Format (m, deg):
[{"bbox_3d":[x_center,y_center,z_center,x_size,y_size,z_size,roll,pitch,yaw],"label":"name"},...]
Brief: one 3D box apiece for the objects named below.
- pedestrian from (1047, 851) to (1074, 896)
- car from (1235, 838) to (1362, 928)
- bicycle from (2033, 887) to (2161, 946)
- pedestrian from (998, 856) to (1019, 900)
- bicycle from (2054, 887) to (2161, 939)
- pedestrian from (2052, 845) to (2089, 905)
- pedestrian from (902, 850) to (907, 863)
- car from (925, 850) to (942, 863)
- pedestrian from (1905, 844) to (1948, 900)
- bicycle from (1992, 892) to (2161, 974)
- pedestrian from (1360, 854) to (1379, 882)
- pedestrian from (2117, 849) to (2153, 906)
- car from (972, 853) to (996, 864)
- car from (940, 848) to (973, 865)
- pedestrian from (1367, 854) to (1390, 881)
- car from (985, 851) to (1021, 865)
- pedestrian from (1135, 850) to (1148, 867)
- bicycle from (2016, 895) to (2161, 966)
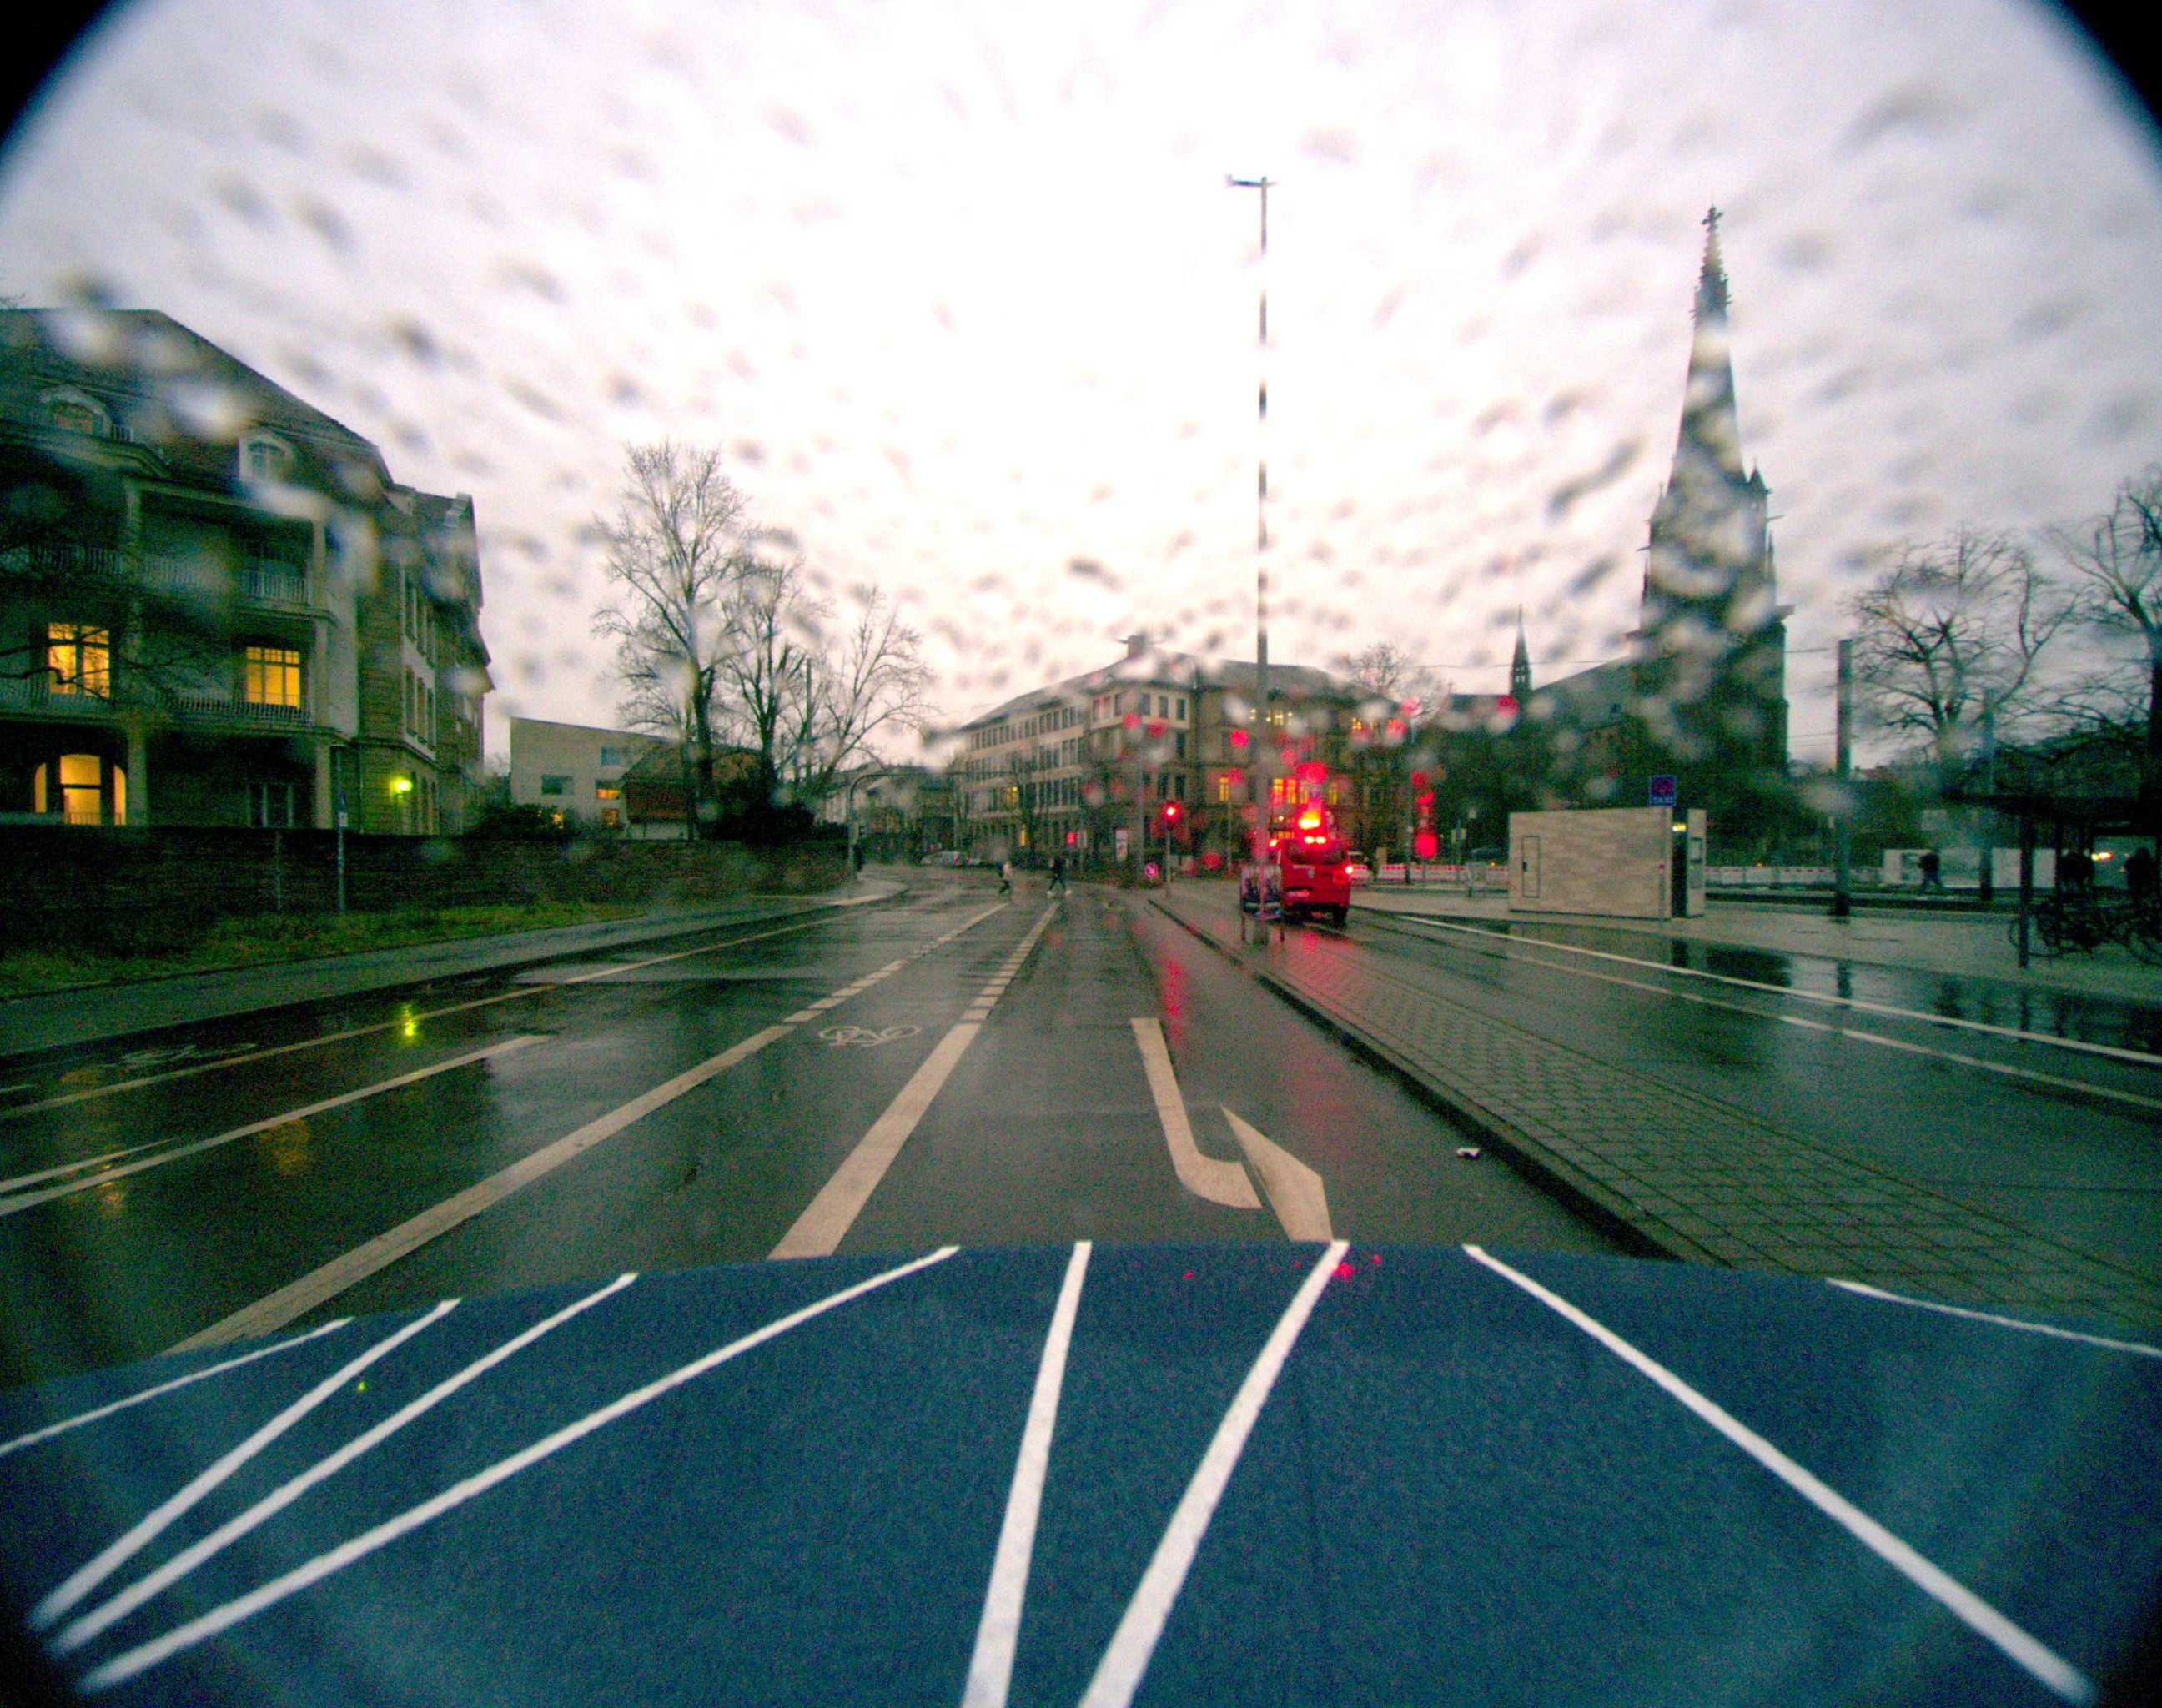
[{"bbox_3d":[-0.873,0.814,32.557,1.000,1.890,0.673,1,1,-13],"label":"pedestrian"},{"bbox_3d":[5.503,0.657,19.914,1.929,2.058,4.643,1,0,0],"label":"car"},{"bbox_3d":[19.689,1.172,14.436,0.475,0.980,1.921,-2,2,-30],"label":"bicycle"},{"bbox_3d":[-2.895,0.951,30.398,0.798,1.713,0.674,1,1,-5],"label":"pedestrian"},{"bbox_3d":[20.845,1.164,15.026,0.475,0.905,1.921,-2,2,-30],"label":"bicycle"},{"bbox_3d":[30.232,0.646,23.224,0.673,1.785,0.626,-3,2,-41],"label":"pedestrian"},{"bbox_3d":[-26.563,0.362,114.502,0.473,2.002,0.548,1,1,35],"label":"pedestrian"},{"bbox_3d":[-20.745,0.365,106.852,2.000,1.660,3.997,-2,1,-7],"label":"car"},{"bbox_3d":[27.788,0.589,24.971,0.671,1.785,0.825,-3,1,-31],"label":"pedestrian"},{"bbox_3d":[15.496,1.183,11.620,0.475,1.064,1.921,-2,2,-30],"label":"bicycle"},{"bbox_3d":[19.870,0.964,52.332,0.675,1.890,0.971,0,2,-42],"label":"pedestrian"},{"bbox_3d":[31.045,0.695,22.396,0.541,1.642,0.562,-3,2,-41],"label":"pedestrian"},{"bbox_3d":[-12.143,0.570,95.314,1.706,1.298,3.647,-2,1,16],"label":"car"},{"bbox_3d":[-14.785,0.277,89.975,1.888,1.835,3.989,-3,1,-44],"label":"car"},{"bbox_3d":[19.294,0.874,49.315,0.774,1.651,1.207,-2,1,-11],"label":"pedestrian"},{"bbox_3d":[-9.288,0.477,90.542,1.797,1.541,4.007,-1,1,45],"label":"car"},{"bbox_3d":[5.976,0.460,75.315,0.829,1.714,0.926,0,0,-37],"label":"pedestrian"},{"bbox_3d":[16.614,1.216,12.224,0.475,0.980,1.921,-2,2,-30],"label":"bicycle"}]
